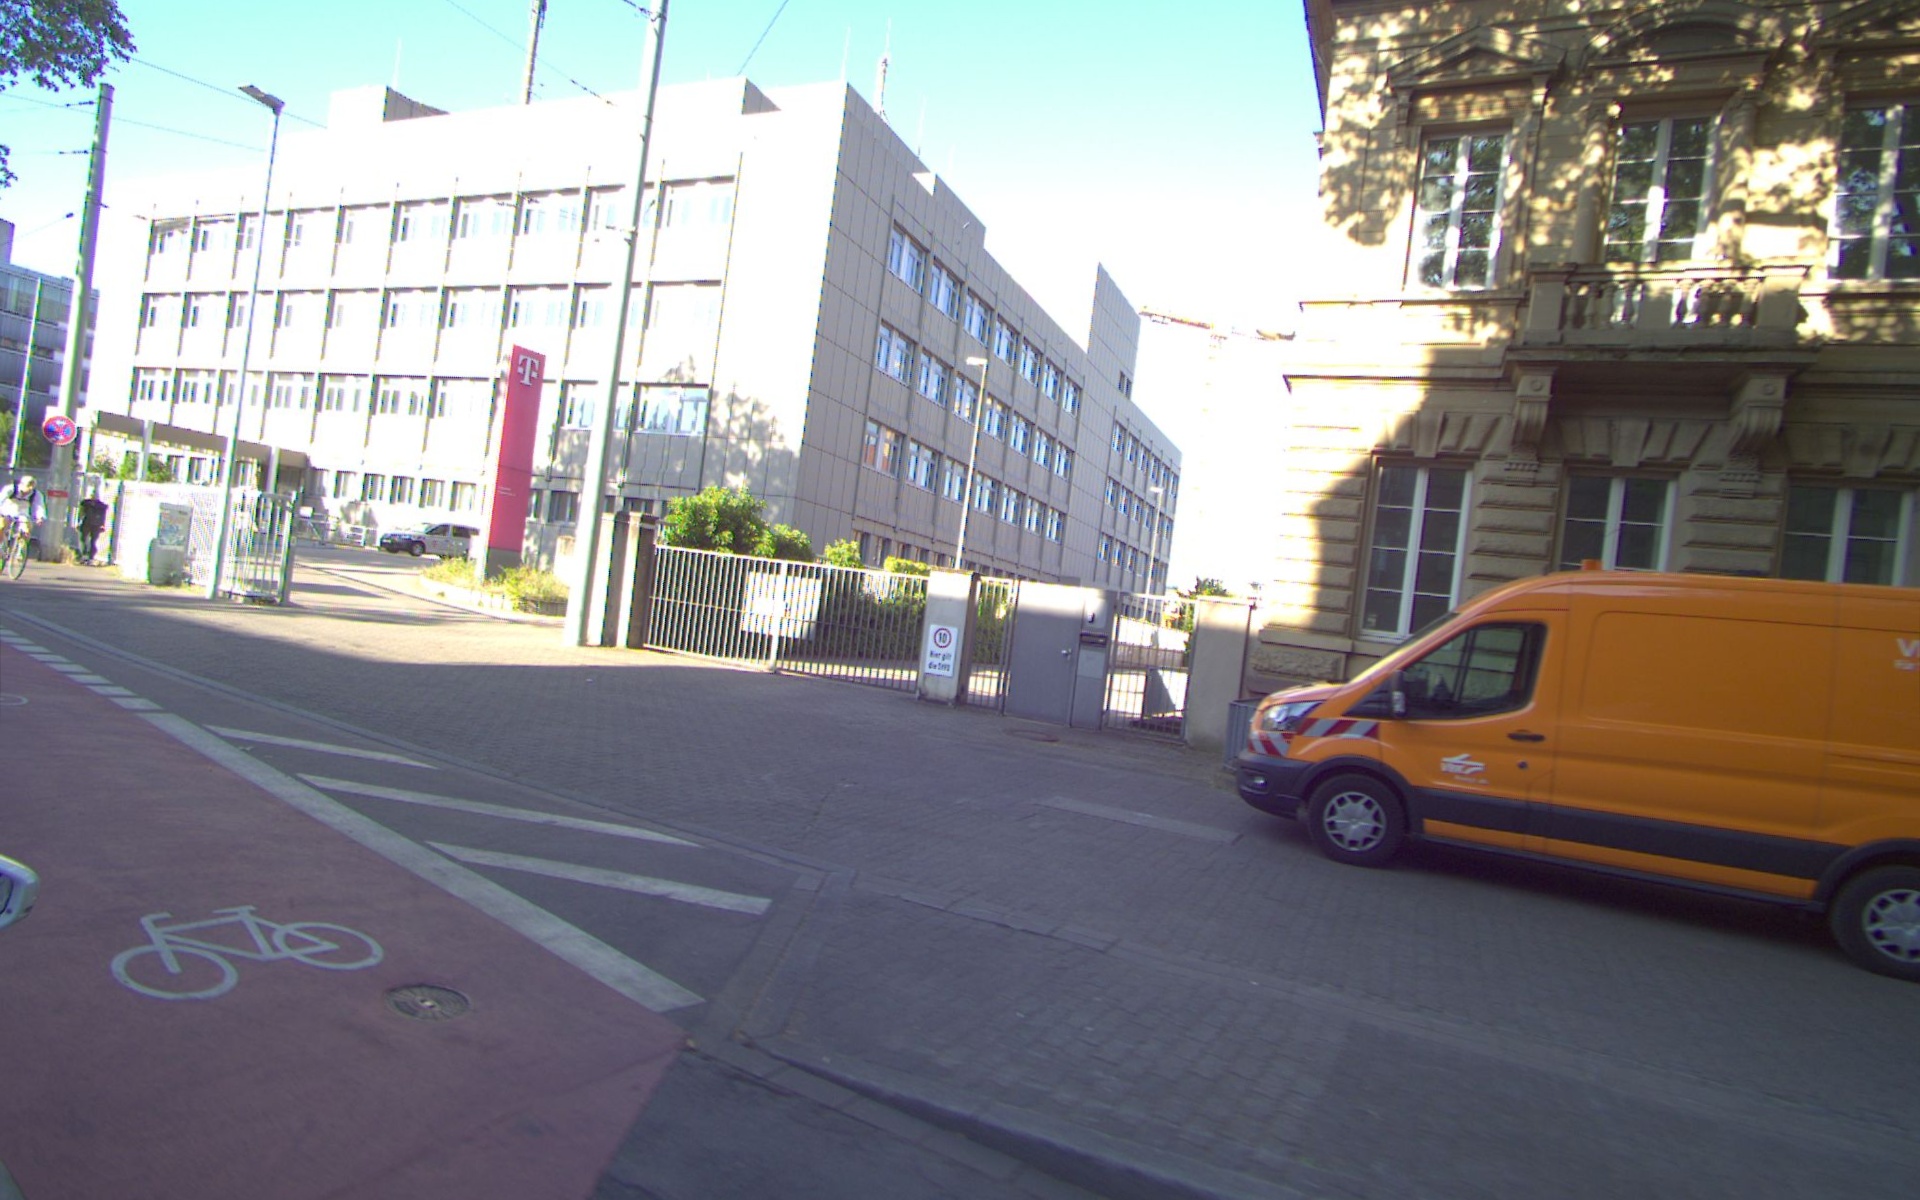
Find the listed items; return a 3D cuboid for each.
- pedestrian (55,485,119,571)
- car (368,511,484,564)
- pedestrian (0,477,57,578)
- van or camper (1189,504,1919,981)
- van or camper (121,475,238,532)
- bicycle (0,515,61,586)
[{"bbox_3d":[-18.942,-1.562,21.823,0.915,1.704,0.696,7,0,33],"label":"pedestrian"},{"bbox_3d":[-24.335,-2.827,46.004,1.957,1.738,4.264,7,-1,24],"label":"car"},{"bbox_3d":[-16.193,-1.259,17.300,1.084,1.640,0.669,7,2,33],"label":"pedestrian"},{"bbox_3d":[4.966,0.911,7.741,5.671,2.590,2.041,7,0,27],"label":"van or camper"},{"bbox_3d":[-35.458,-4.378,45.682,4.909,1.932,1.986,7,0,24],"label":"van or camper"},{"bbox_3d":[-16.194,-0.875,17.281,1.870,1.046,0.674,7,2,35],"label":"bicycle"}]
